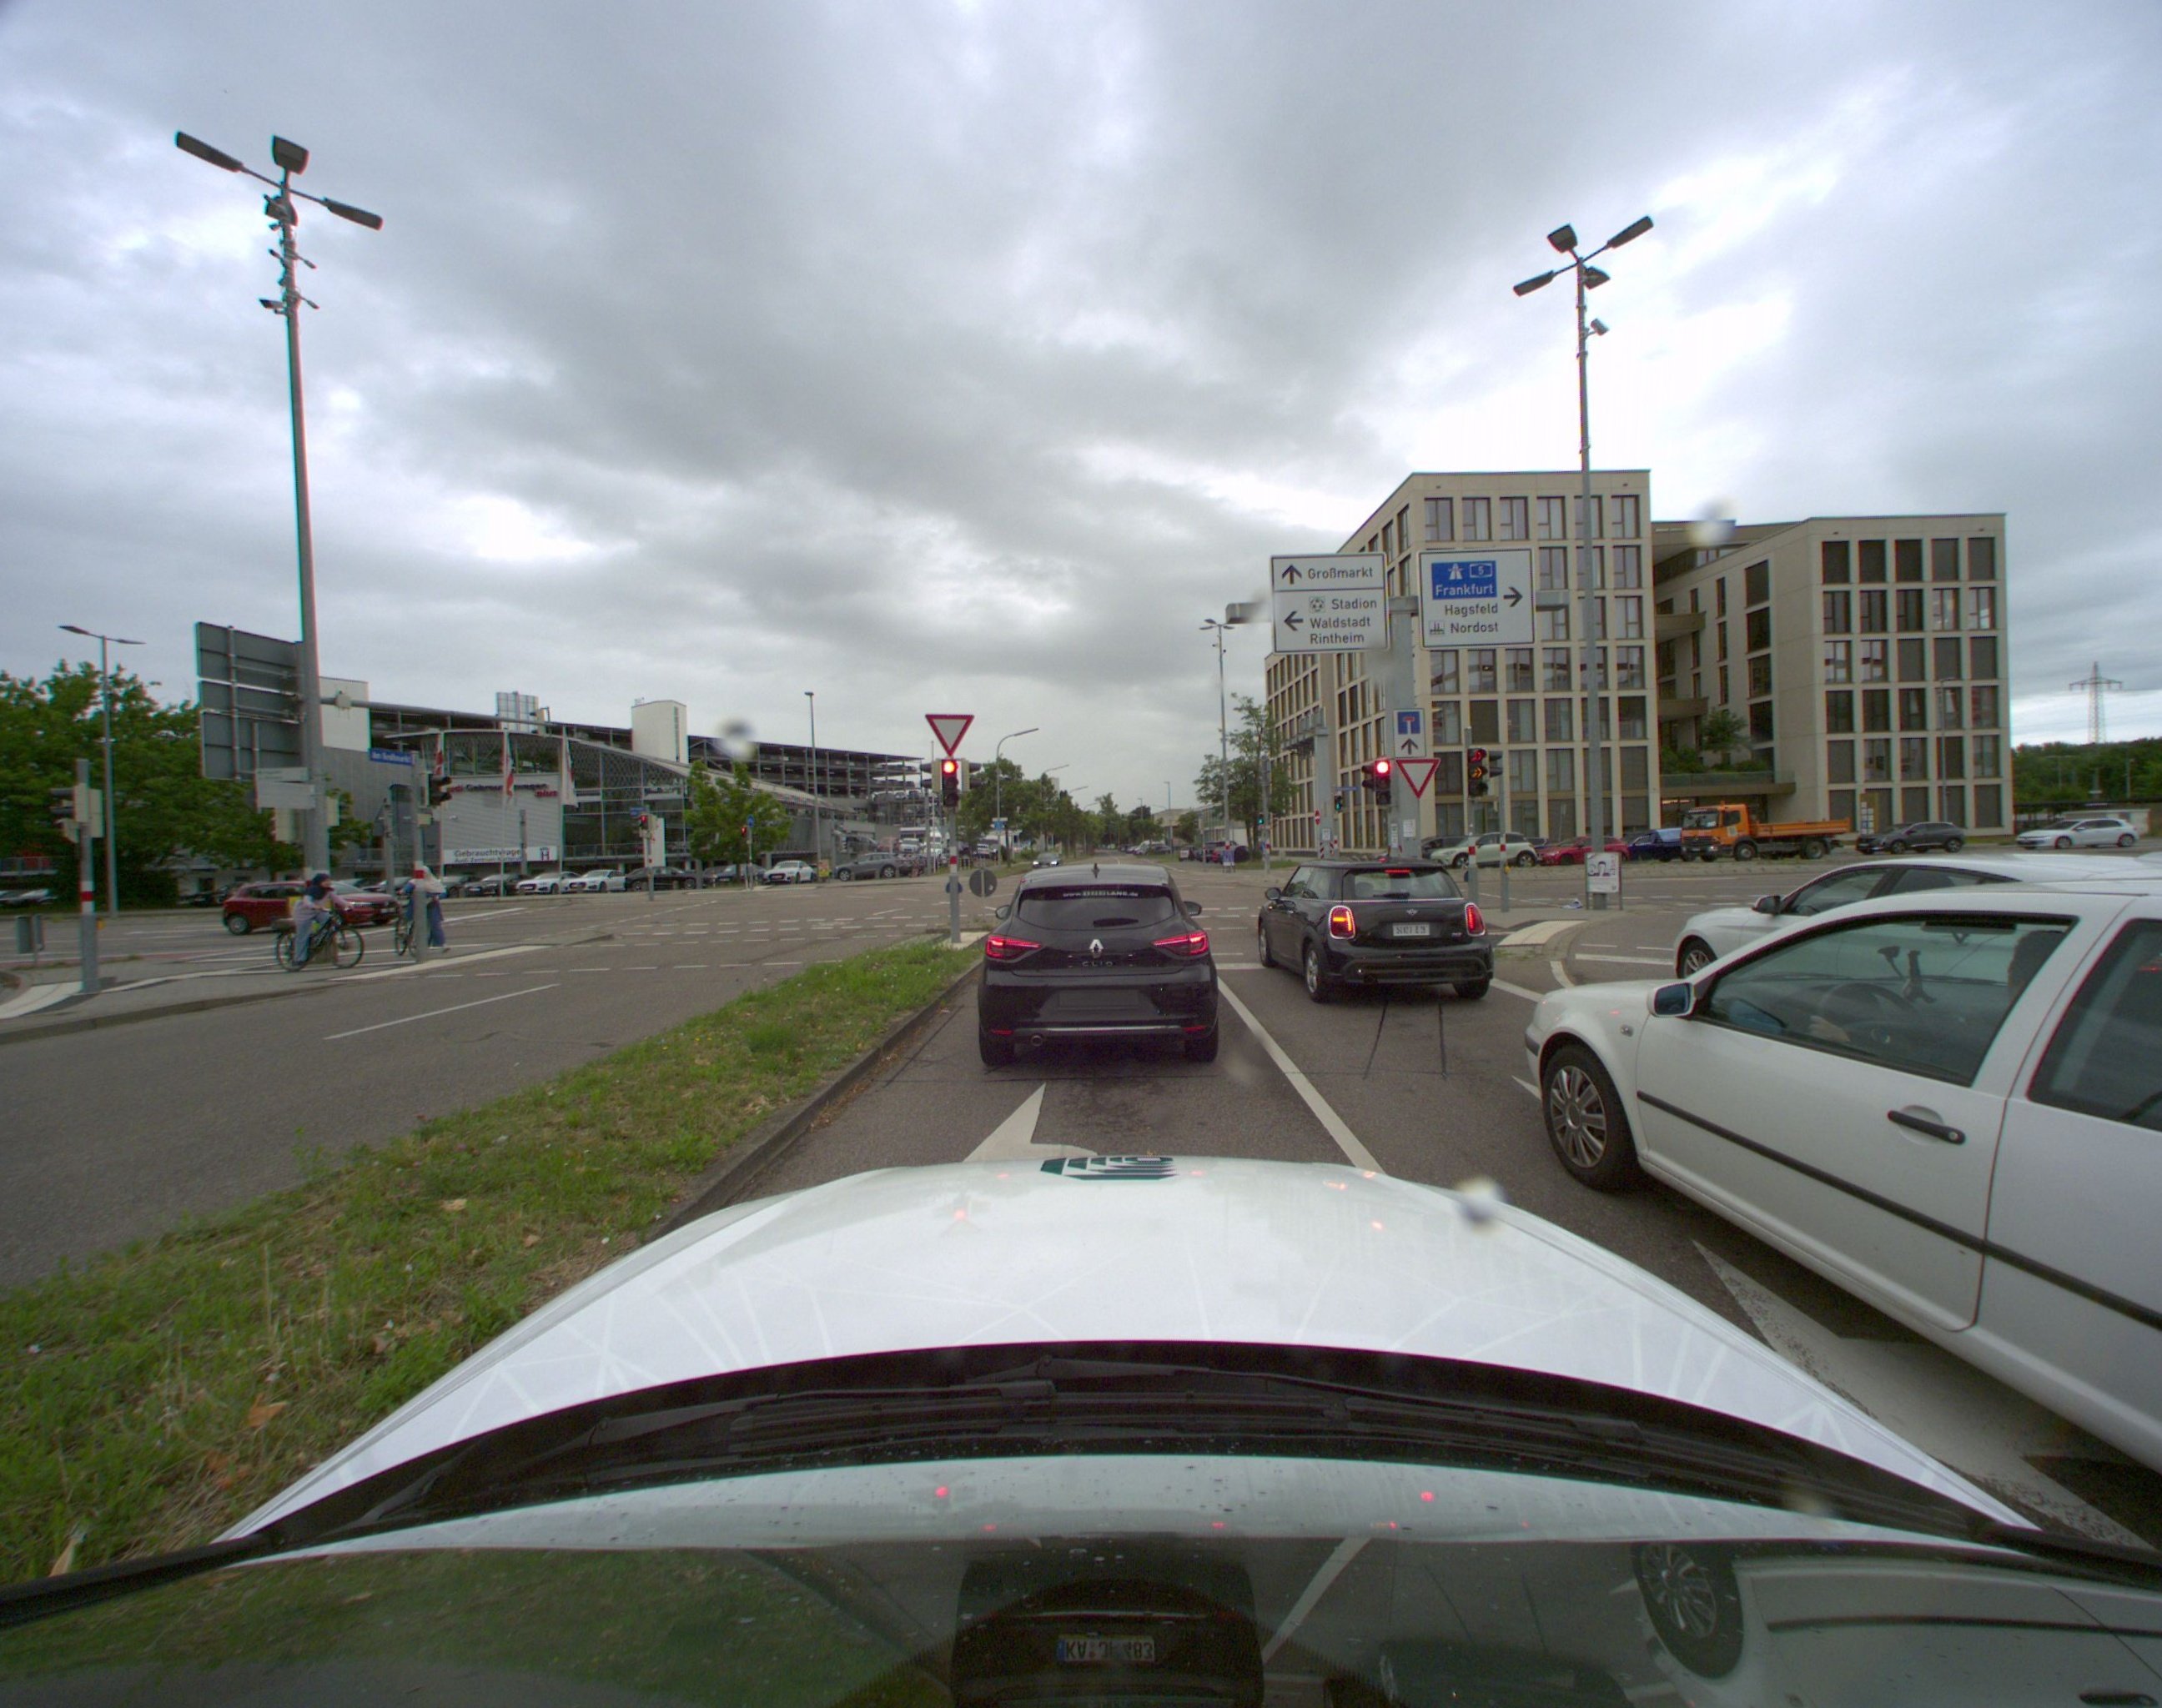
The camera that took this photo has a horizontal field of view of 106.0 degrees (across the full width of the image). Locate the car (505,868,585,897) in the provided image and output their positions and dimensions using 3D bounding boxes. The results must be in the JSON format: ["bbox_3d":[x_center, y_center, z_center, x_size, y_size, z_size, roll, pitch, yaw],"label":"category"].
[{"bbox_3d":[-30.094,1.606,45.902,1.865,1.486,4.041,-2,-2,-1],"label":"car"}]

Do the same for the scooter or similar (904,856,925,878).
[{"bbox_3d":[-9.949,0.761,48.707,0.553,1.218,1.567,1,1,16],"label":"scooter or similar"}]

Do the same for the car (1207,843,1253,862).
[{"bbox_3d":[12.995,-0.154,70.911,4.157,1.551,1.865,-1,-1,-43],"label":"car"}]

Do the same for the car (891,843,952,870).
[{"bbox_3d":[-13.780,0.203,70.555,4.882,2.013,1.998,-4,0,-3],"label":"car"}]

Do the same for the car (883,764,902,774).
[{"bbox_3d":[-41.195,-18.561,177.898,3.948,1.667,2.013,-1,0,33],"label":"car"}]

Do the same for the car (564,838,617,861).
[{"bbox_3d":[-37.731,-0.319,62.714,1.815,1.662,3.996,0,-1,-3],"label":"car"}]

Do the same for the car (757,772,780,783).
[{"bbox_3d":[-58.098,-14.267,151.254,3.948,1.667,2.013,-1,0,33],"label":"car"}]

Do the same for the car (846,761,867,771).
[{"bbox_3d":[-46.679,-18.310,169.105,3.948,1.667,2.013,-1,0,33],"label":"car"}]

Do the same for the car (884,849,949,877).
[{"bbox_3d":[-13.632,0.730,67.713,4.882,2.013,1.998,-4,0,-3],"label":"car"}]

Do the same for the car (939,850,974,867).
[{"bbox_3d":[-15.200,0.519,99.483,3.975,2.014,1.999,0,-1,-1],"label":"car"}]

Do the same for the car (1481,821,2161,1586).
[{"bbox_3d":[3.025,0.676,2.400,1.826,1.478,4.006,0,-1,2],"label":"car"}]

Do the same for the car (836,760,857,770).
[{"bbox_3d":[-48.125,-18.236,166.836,3.948,1.667,2.013,-1,0,33],"label":"car"}]

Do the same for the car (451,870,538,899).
[{"bbox_3d":[-32.841,1.715,45.759,1.860,1.486,4.229,-2,-2,-1],"label":"car"}]

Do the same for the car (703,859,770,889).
[{"bbox_3d":[-19.686,1.185,46.821,2.059,1.486,4.511,-3,-2,-3],"label":"car"}]

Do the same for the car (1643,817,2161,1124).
[{"bbox_3d":[6.095,0.543,5.731,1.819,1.410,4.206,0,-1,8],"label":"car"}]

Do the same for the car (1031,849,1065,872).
[{"bbox_3d":[-2.270,0.429,57.898,1.970,1.551,4.617,-2,1,3],"label":"car"}]

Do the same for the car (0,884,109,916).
[{"bbox_3d":[-57.767,2.595,45.462,1.865,1.603,4.245,0,-6,-2],"label":"car"}]

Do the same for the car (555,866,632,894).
[{"bbox_3d":[-27.531,1.494,46.186,1.841,1.486,4.196,-2,-2,-1],"label":"car"}]

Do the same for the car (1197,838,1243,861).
[{"bbox_3d":[12.676,-0.411,74.124,1.975,1.965,4.271,-2,-1,43],"label":"car"}]

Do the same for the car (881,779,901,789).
[{"bbox_3d":[-41.409,-15.288,177.711,3.948,1.667,2.013,-1,0,33],"label":"car"}]

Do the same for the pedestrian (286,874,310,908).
[{"bbox_3d":[-45.045,2.115,46.867,0.714,1.871,0.673,-2,-2,0],"label":"pedestrian"}]

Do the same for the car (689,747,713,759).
[{"bbox_3d":[-65.618,-17.406,140.705,3.948,1.667,2.013,-1,0,33],"label":"car"}]

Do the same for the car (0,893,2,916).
[{"bbox_3d":[-63.239,2.821,44.983,1.808,1.486,4.072,0,-5,-2],"label":"car"}]

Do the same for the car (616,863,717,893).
[{"bbox_3d":[-23.735,1.408,46.729,4.726,1.486,1.891,-2,-3,-2],"label":"car"}]

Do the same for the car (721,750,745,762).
[{"bbox_3d":[-62.122,-17.393,145.278,3.948,1.667,2.013,-1,0,33],"label":"car"}]

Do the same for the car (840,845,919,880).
[{"bbox_3d":[-13.325,0.569,54.032,4.690,2.013,1.998,-4,0,-3],"label":"car"}]

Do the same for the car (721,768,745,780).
[{"bbox_3d":[-62.073,-14.283,145.169,3.948,1.667,2.013,-1,0,33],"label":"car"}]

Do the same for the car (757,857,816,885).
[{"bbox_3d":[-16.884,0.990,46.945,1.863,1.486,4.227,-3,-2,-1],"label":"car"}]

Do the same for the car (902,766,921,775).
[{"bbox_3d":[-38.042,-18.758,183.125,3.948,1.667,2.013,-1,0,33],"label":"car"}]

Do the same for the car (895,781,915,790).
[{"bbox_3d":[-39.136,-15.233,181.010,3.948,1.667,2.013,-1,0,33],"label":"car"}]

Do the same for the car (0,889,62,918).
[{"bbox_3d":[-60.429,2.768,45.428,1.815,1.487,4.216,0,-6,-2],"label":"car"}]

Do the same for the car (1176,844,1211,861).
[{"bbox_3d":[11.570,-0.149,83.871,3.451,1.732,1.745,0,-1,-40],"label":"car"}]

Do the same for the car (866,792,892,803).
[{"bbox_3d":[-43.727,-12.246,176.269,5.263,1.945,2.225,-1,0,30],"label":"car"}]

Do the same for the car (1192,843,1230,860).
[{"bbox_3d":[12.400,-0.219,77.535,1.676,1.511,3.840,-2,-1,45],"label":"car"}]

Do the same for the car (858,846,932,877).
[{"bbox_3d":[-13.583,0.544,59.678,4.938,1.876,2.050,-4,-1,-5],"label":"car"}]

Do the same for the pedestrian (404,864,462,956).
[{"bbox_3d":[-12.091,1.032,15.197,0.683,1.626,0.645,-5,-1,42],"label":"pedestrian"}]

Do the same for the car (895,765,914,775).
[{"bbox_3d":[-39.218,-18.716,181.208,3.948,1.667,2.013,-1,0,33],"label":"car"}]

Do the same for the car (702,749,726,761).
[{"bbox_3d":[-64.420,-17.396,142.853,3.948,1.667,2.013,-1,0,33],"label":"car"}]

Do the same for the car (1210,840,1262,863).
[{"bbox_3d":[12.683,-0.196,66.528,4.153,1.768,1.867,-1,-1,-38],"label":"car"}]

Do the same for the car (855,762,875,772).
[{"bbox_3d":[-45.502,-18.341,171.703,3.948,1.667,2.013,-1,0,33],"label":"car"}]

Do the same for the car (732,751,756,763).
[{"bbox_3d":[-60.997,-17.597,147.434,3.948,1.667,2.013,-1,0,33],"label":"car"}]

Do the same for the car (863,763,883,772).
[{"bbox_3d":[-44.277,-18.415,173.653,3.948,1.667,2.013,-1,0,33],"label":"car"}]

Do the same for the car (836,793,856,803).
[{"bbox_3d":[-48.229,-11.446,167.125,3.948,1.667,2.013,-1,0,33],"label":"car"}]

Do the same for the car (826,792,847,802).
[{"bbox_3d":[-49.434,-11.531,164.719,3.948,1.667,2.013,-1,0,33],"label":"car"}]

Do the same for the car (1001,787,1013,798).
[{"bbox_3d":[-14.517,-12.009,159.527,1.989,1.882,3.996,-2,-1,-2],"label":"car"}]

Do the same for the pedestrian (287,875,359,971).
[{"bbox_3d":[-12.667,1.148,13.618,0.642,1.549,0.657,-3,-2,20],"label":"pedestrian"}]

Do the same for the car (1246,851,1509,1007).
[{"bbox_3d":[3.085,0.706,9.289,1.779,1.416,3.645,0,-1,2],"label":"car"}]

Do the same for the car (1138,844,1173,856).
[{"bbox_3d":[11.270,-0.646,123.691,5.158,1.720,2.143,0,-1,-1],"label":"car"}]

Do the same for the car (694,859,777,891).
[{"bbox_3d":[-23.773,1.411,56.207,4.788,1.939,1.999,-2,0,-1],"label":"car"}]

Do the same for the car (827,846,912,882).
[{"bbox_3d":[-13.303,0.627,51.459,4.761,1.862,1.998,-4,0,-3],"label":"car"}]

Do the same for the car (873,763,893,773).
[{"bbox_3d":[-42.673,-18.571,175.823,3.948,1.667,2.013,-1,0,33],"label":"car"}]

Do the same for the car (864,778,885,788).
[{"bbox_3d":[-43.945,-15.086,173.287,3.948,1.667,2.013,-1,0,33],"label":"car"}]

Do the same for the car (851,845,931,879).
[{"bbox_3d":[-13.248,0.532,57.040,5.011,2.013,2.264,-4,0,-3],"label":"car"}]

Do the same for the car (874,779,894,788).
[{"bbox_3d":[-42.583,-15.215,175.780,3.948,1.667,2.013,-1,0,33],"label":"car"}]

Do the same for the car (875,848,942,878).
[{"bbox_3d":[-13.720,0.739,64.993,4.882,2.013,1.998,-4,0,-3],"label":"car"}]
